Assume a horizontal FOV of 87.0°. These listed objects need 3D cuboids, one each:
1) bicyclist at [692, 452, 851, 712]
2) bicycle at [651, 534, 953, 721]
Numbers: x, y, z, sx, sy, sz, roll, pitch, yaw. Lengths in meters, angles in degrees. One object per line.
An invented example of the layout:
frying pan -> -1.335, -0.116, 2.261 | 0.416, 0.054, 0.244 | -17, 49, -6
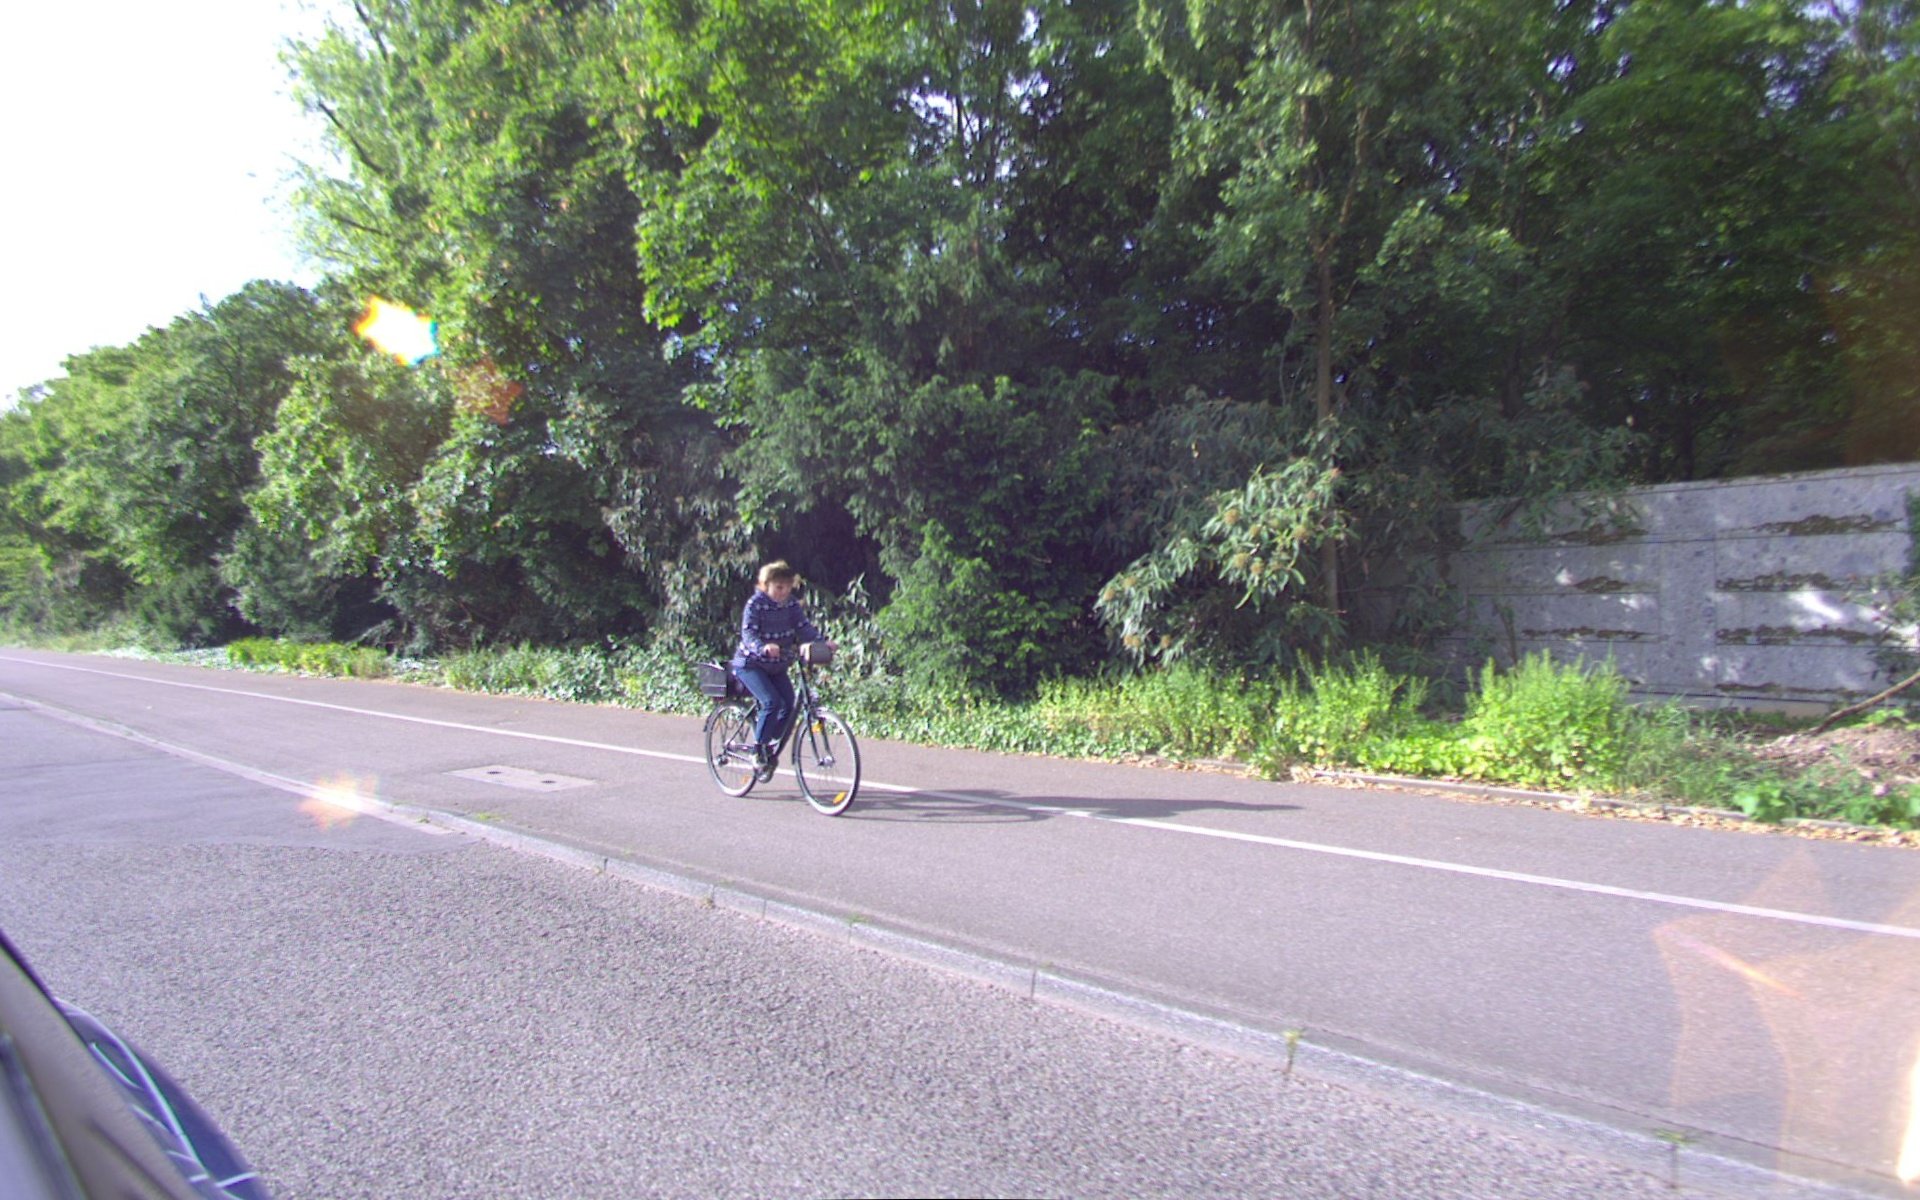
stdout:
bicyclist -> -1.323, -0.122, 7.098 | 0.883, 1.689, 0.603 | -1, 2, 40
bicycle -> -1.164, 0.175, 6.978 | 2.346, 1.105, 0.656 | -1, 0, 40
